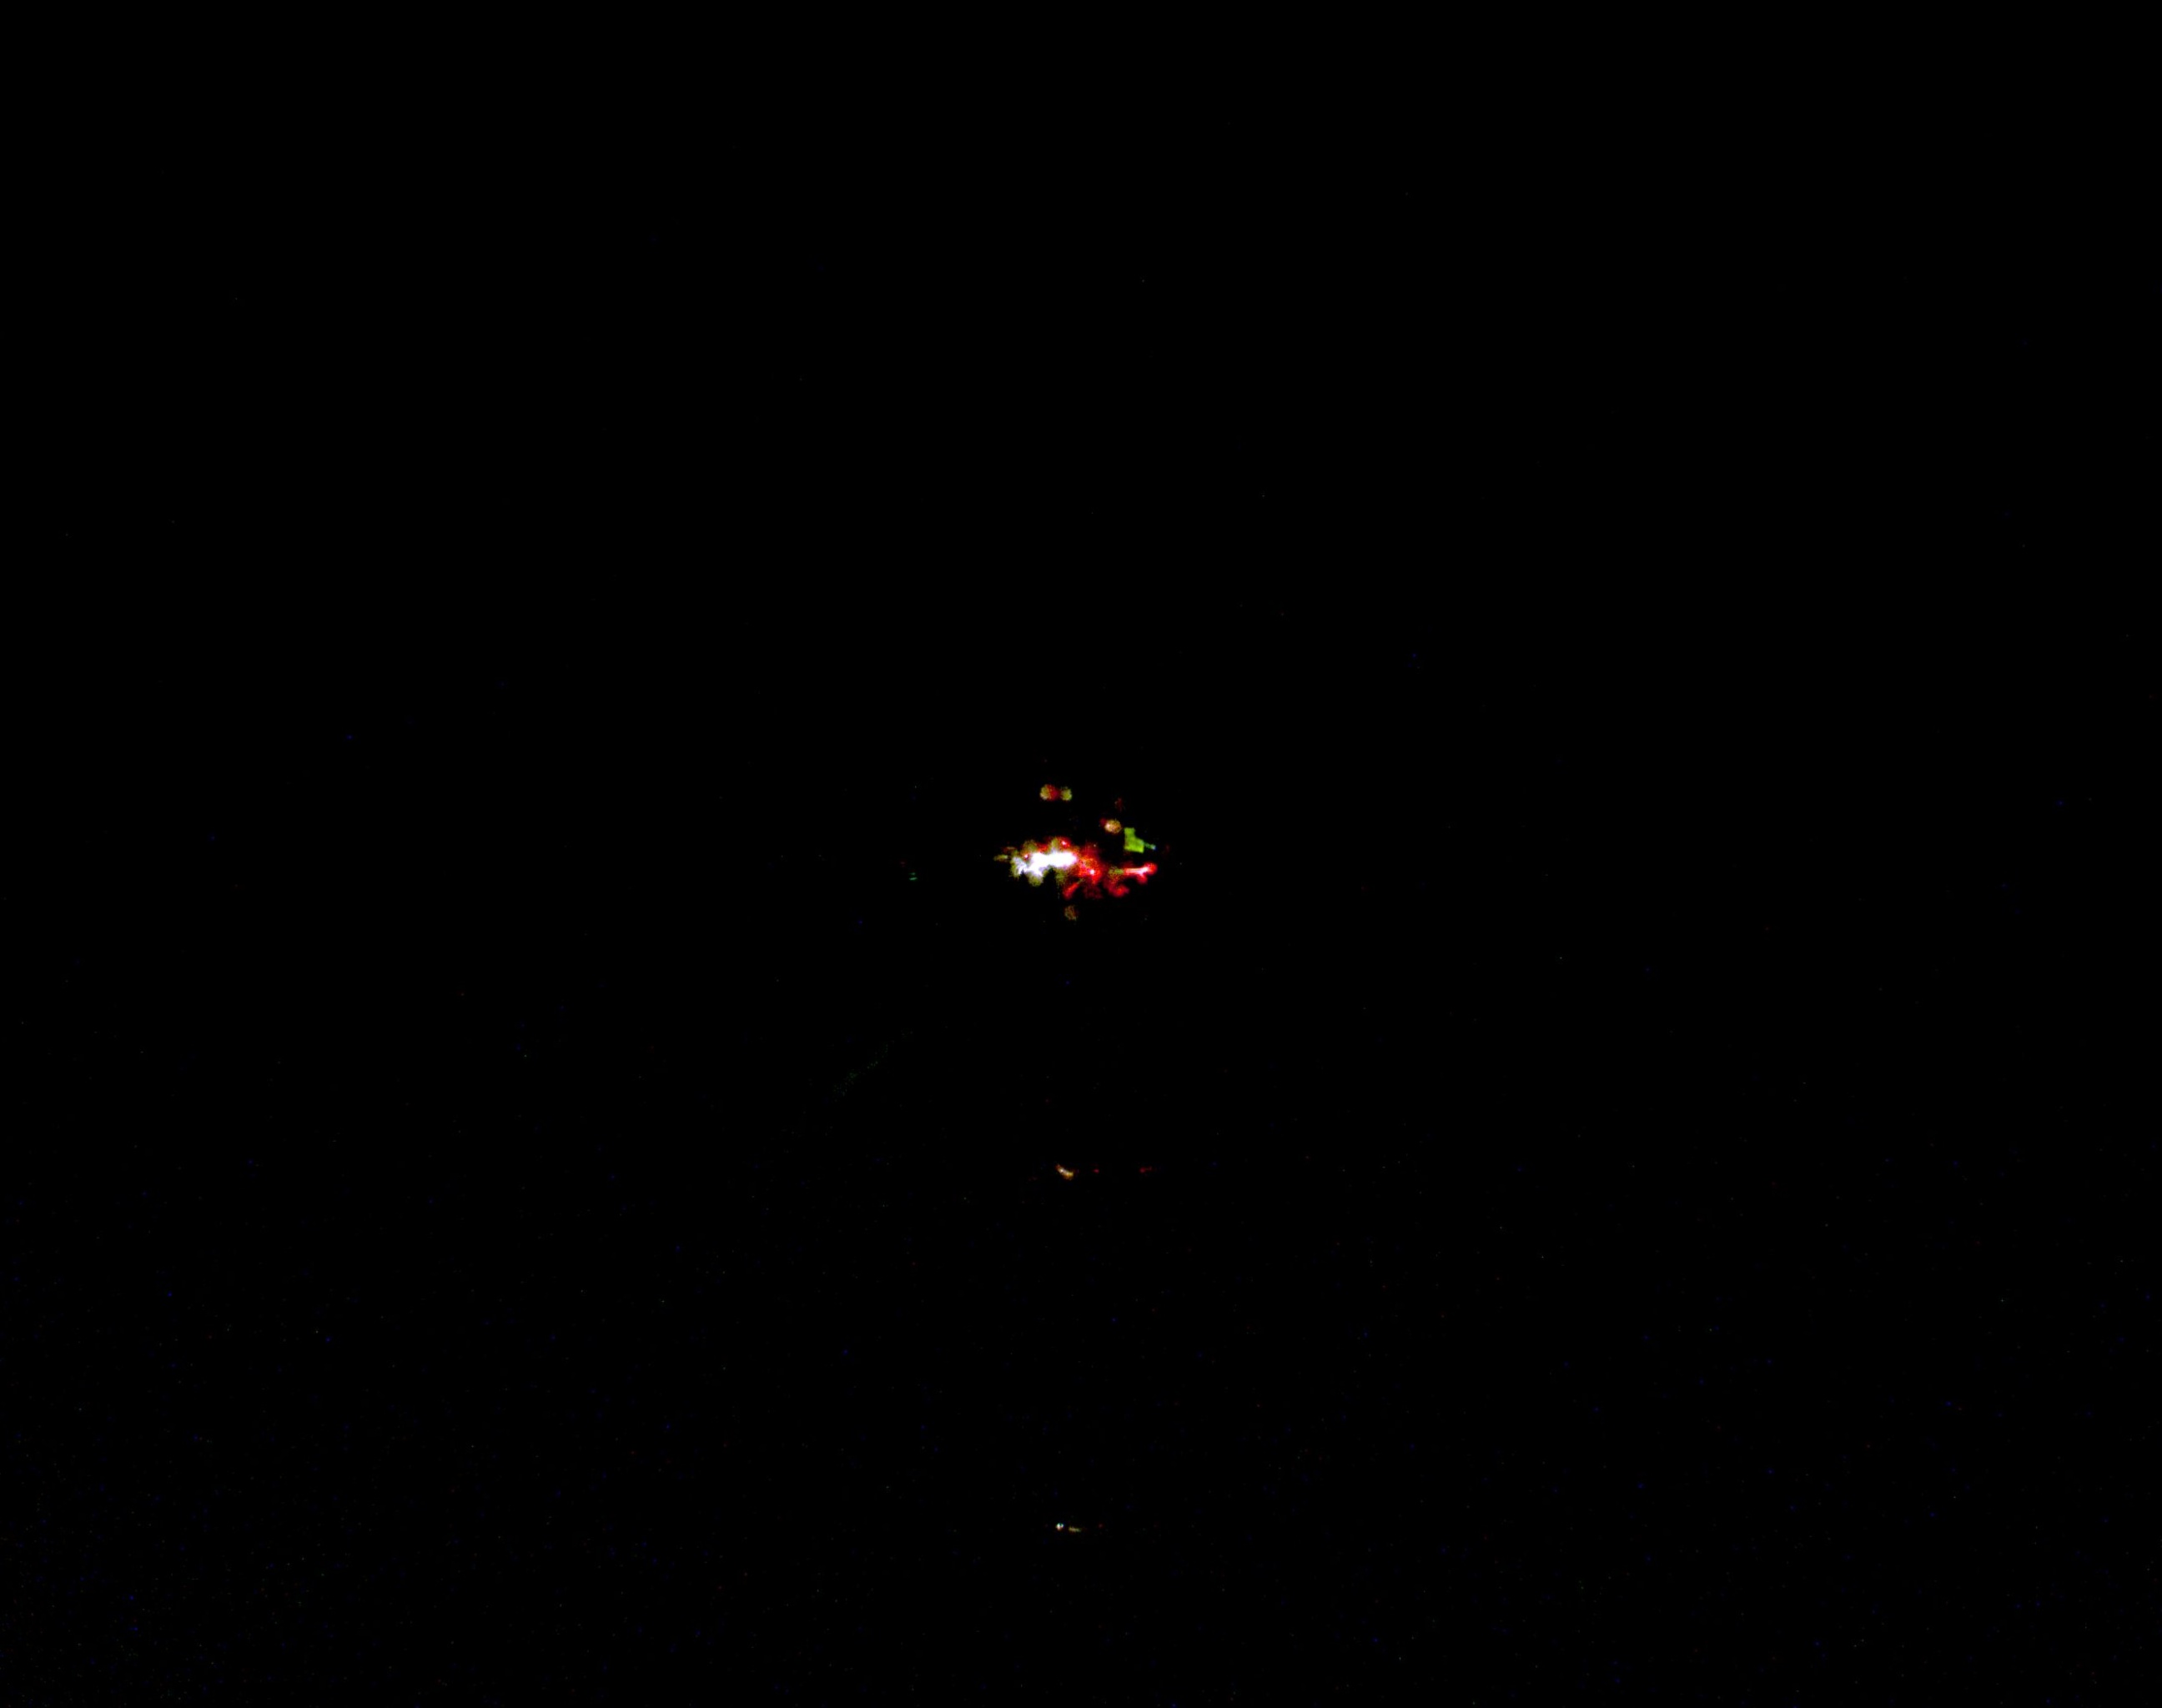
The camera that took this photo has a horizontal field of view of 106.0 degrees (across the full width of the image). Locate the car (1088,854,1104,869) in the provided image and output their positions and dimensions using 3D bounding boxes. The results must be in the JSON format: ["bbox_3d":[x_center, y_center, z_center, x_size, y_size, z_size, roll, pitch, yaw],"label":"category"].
[{"bbox_3d":[2.006,0.939,106.759,1.987,1.915,3.999,0,-1,-1],"label":"car"}]

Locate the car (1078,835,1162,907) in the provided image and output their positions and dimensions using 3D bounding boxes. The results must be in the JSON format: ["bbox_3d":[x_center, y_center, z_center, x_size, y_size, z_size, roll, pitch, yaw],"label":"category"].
[{"bbox_3d":[1.326,0.568,29.531,2.706,2.307,6.101,-1,0,1],"label":"car"}]
